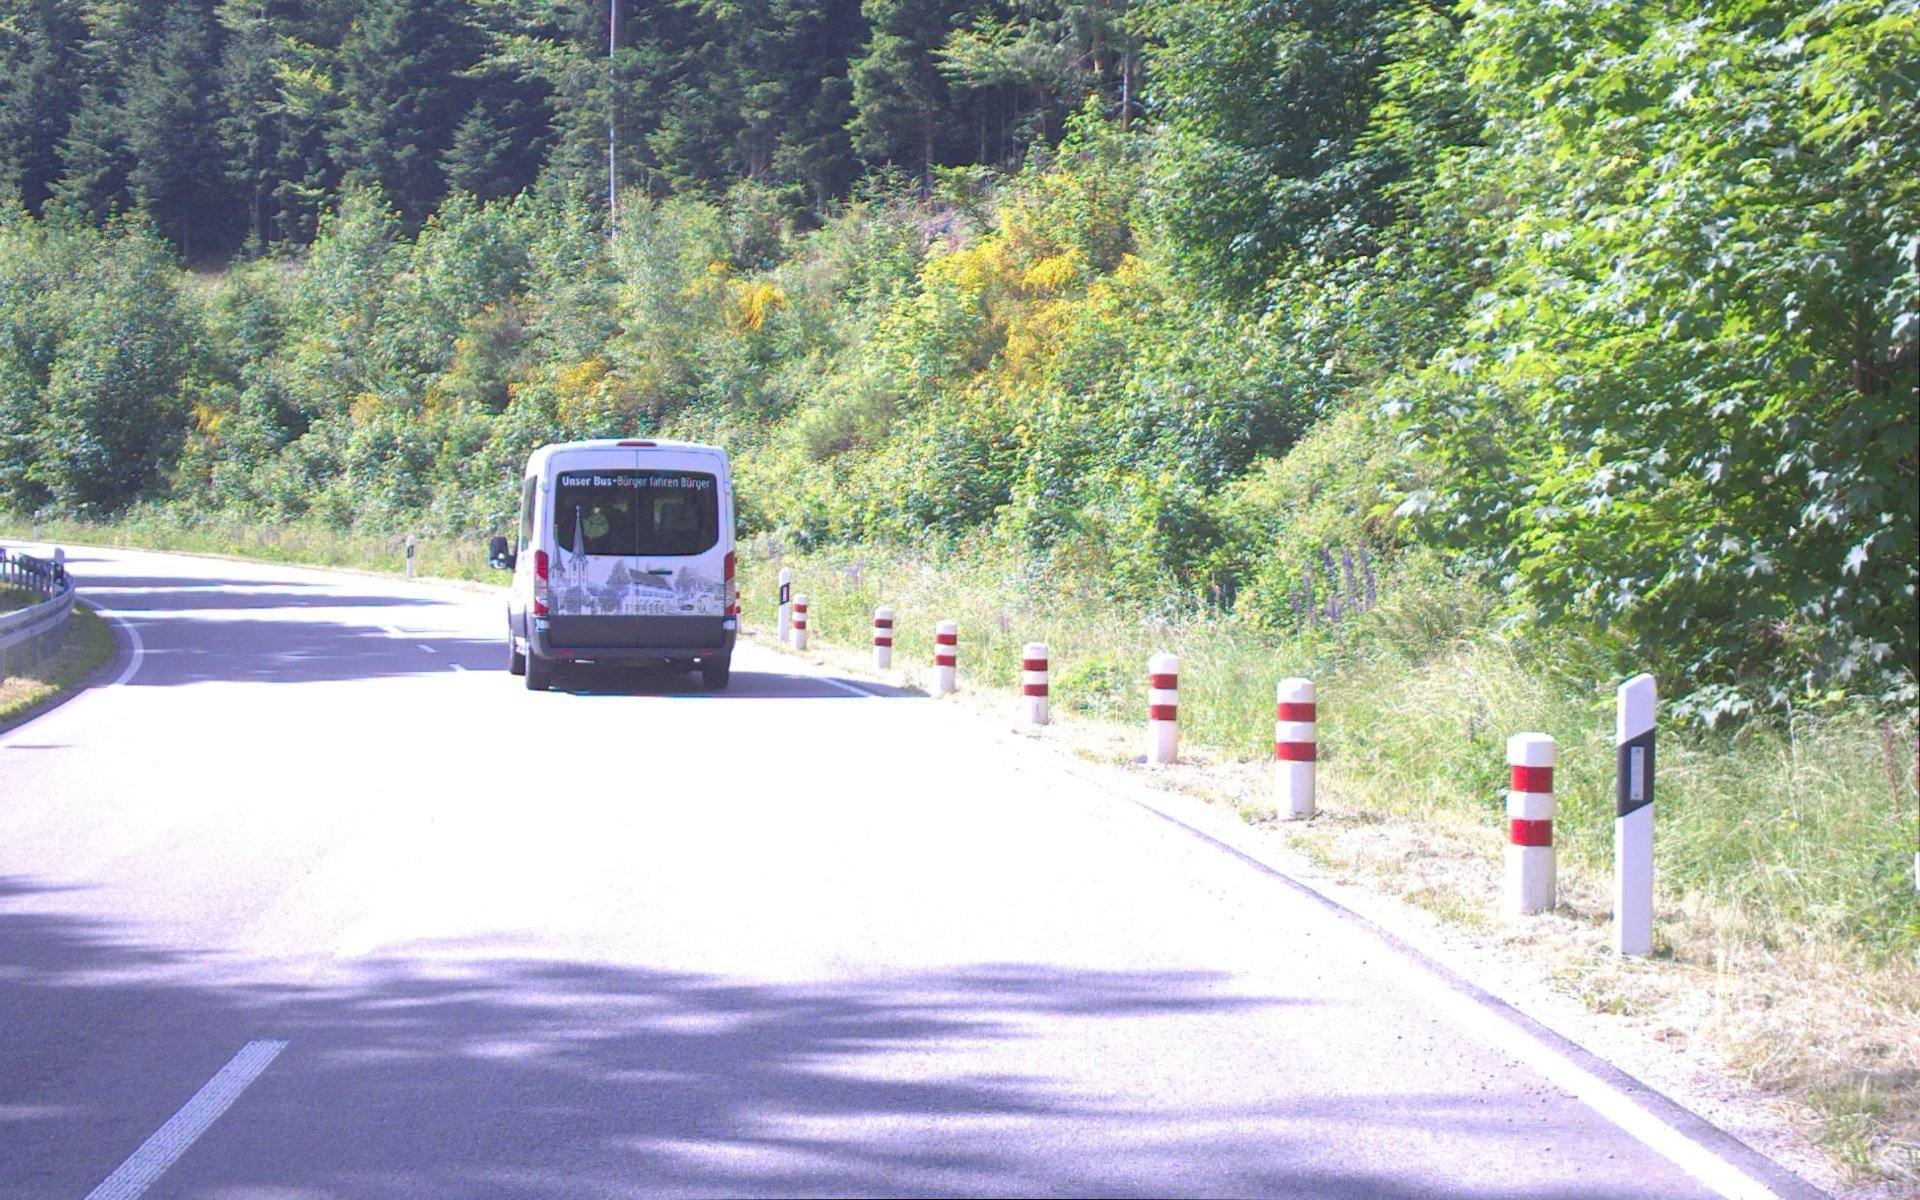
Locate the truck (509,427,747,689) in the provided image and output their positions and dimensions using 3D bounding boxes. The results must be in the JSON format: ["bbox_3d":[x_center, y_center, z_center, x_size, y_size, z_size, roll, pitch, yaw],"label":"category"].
[{"bbox_3d":[-3.517,-0.486,35.502,2.115,2.489,5.361,0,2,-9],"label":"truck"}]
